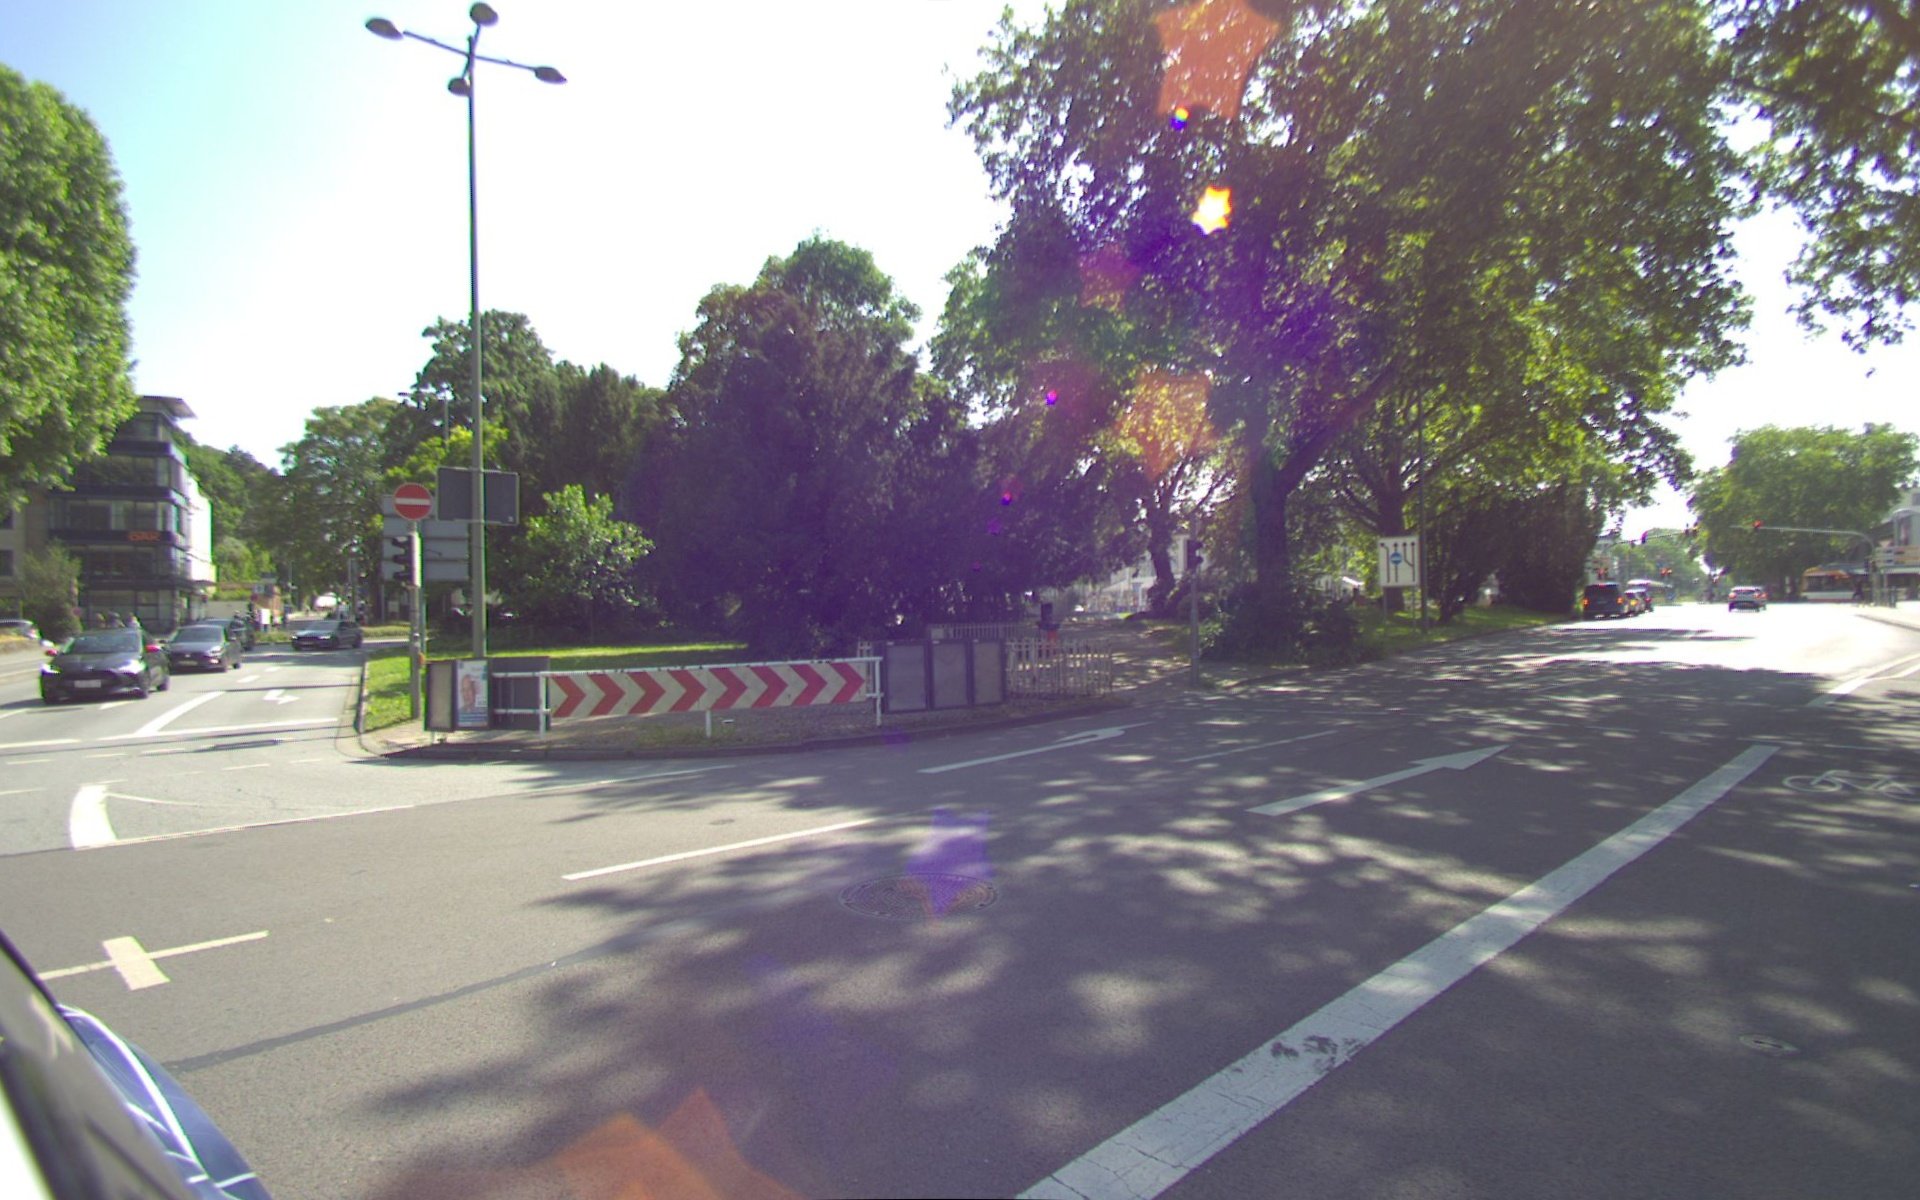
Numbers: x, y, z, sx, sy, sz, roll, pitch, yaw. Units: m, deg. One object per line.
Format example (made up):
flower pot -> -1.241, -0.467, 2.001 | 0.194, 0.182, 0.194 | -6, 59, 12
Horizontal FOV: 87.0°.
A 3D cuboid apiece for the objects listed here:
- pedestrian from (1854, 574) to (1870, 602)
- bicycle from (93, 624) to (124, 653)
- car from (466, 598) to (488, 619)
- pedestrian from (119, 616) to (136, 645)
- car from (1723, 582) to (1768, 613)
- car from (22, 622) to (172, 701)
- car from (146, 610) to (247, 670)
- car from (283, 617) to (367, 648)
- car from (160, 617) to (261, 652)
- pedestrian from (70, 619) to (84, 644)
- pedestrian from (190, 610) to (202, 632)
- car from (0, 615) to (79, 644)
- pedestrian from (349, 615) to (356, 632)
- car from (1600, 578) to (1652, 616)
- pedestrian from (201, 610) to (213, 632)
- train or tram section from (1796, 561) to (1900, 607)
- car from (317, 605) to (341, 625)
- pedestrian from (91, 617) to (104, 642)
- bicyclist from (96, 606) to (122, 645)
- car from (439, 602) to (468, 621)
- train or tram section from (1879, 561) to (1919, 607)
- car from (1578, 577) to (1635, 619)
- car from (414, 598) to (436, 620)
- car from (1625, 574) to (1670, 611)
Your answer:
pedestrian -> 58.419, -0.777, 65.555 | 0.696, 1.800, 0.824 | -2, -1, 39
bicycle -> -36.633, 1.636, 43.572 | 0.747, 1.129, 2.007 | 0, 0, -32
car -> -48.881, 0.892, 102.341 | 1.820, 2.029, 4.013 | -1, 0, -28
pedestrian -> -49.102, 1.774, 59.670 | 0.699, 1.685, 0.536 | -1, 0, -34
car -> 47.757, -0.179, 61.492 | 1.850, 1.748, 4.002 | -3, -1, 42
car -> -18.750, 1.260, 22.181 | 1.780, 1.462, 3.966 | 0, 0, -30
car -> -24.053, 1.221, 32.050 | 1.858, 1.696, 4.155 | 1, 0, -27
car -> -31.027, 1.559, 49.630 | 1.911, 1.440, 4.559 | 0, -1, -10
car -> -34.141, 1.534, 46.249 | 1.911, 1.440, 4.559 | 0, -1, -11
pedestrian -> -61.614, 2.175, 70.622 | 0.679, 1.718, 0.604 | -1, -1, -36
pedestrian -> -58.393, 1.592, 77.391 | 0.592, 1.718, 0.606 | -1, 0, -25
car -> -56.495, 1.772, 61.784 | 3.935, 1.663, 1.760 | -1, -1, -38
pedestrian -> -63.045, 2.412, 104.982 | 0.592, 1.718, 0.606 | -1, -1, -30
car -> 39.058, -0.202, 59.303 | 1.935, 2.096, 4.002 | -2, -1, 42
pedestrian -> -59.168, 1.613, 79.544 | 0.592, 1.718, 0.606 | -1, 0, -26
train or tram section -> 76.506, -1.326, 87.332 | 2.115, 3.711, 6.390 | -1, -1, -20
car -> -58.808, 1.399, 94.376 | 1.820, 1.801, 4.012 | -1, -1, -31
pedestrian -> -60.495, 2.062, 70.986 | 0.643, 1.718, 0.648 | -1, -1, -37
bicyclist -> -36.748, 1.082, 43.706 | 0.754, 1.648, 0.946 | 0, 0, -33
car -> -45.553, 1.059, 90.912 | 1.821, 1.674, 4.011 | -1, 0, -34
train or tram section -> 78.541, -1.329, 81.507 | 2.115, 3.711, 6.303 | -1, -1, -19
car -> 35.450, -0.144, 55.467 | 1.935, 2.184, 4.002 | -3, -1, 42
car -> -52.170, 0.878, 98.652 | 1.820, 2.029, 4.013 | -1, 0, -28
car -> 46.447, -0.516, 68.346 | 1.935, 2.352, 4.002 | -2, -1, 42
